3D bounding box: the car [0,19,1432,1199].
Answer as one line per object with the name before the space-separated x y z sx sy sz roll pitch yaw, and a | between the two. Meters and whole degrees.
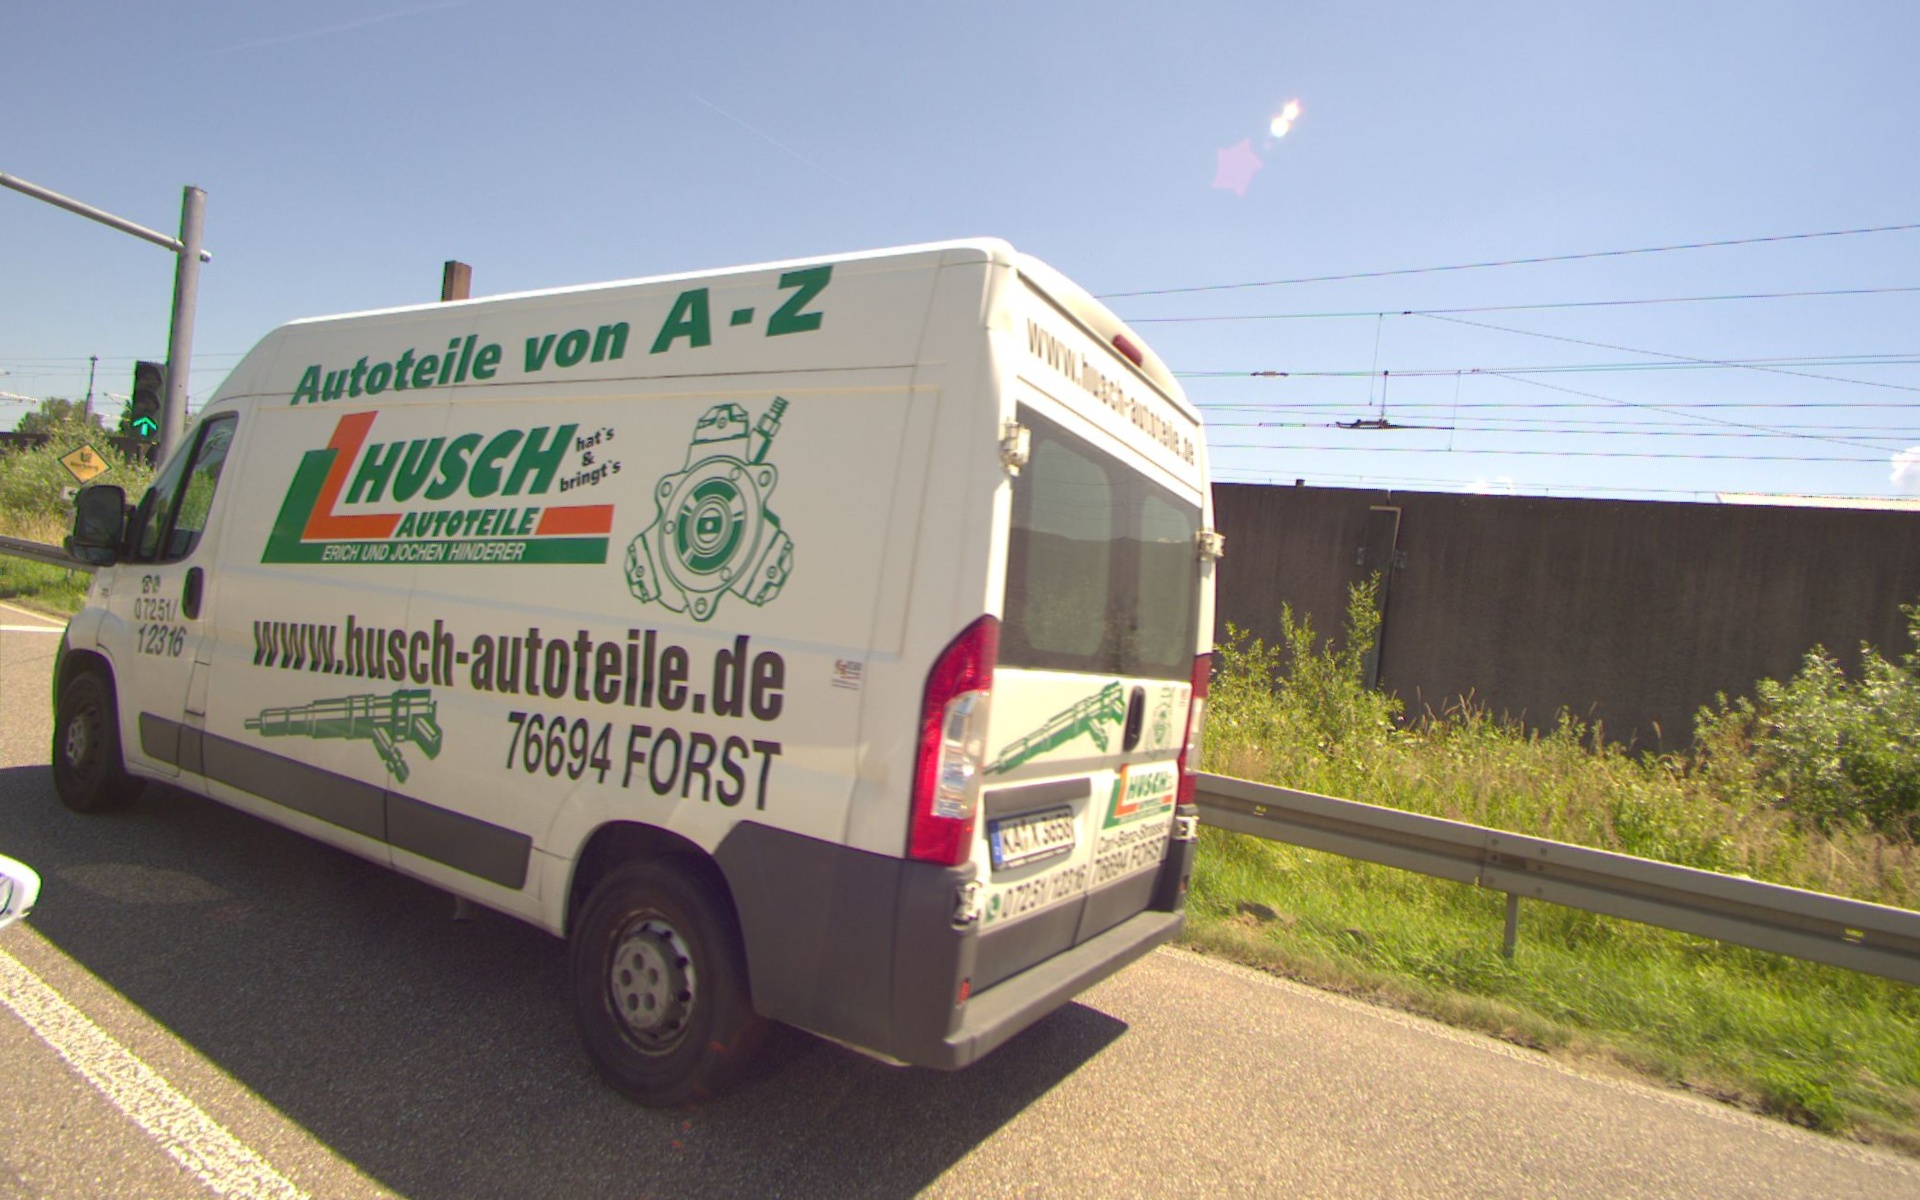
car | -1.755 -0.034 4.580 6.638 2.634 2.192 7 -1 32
